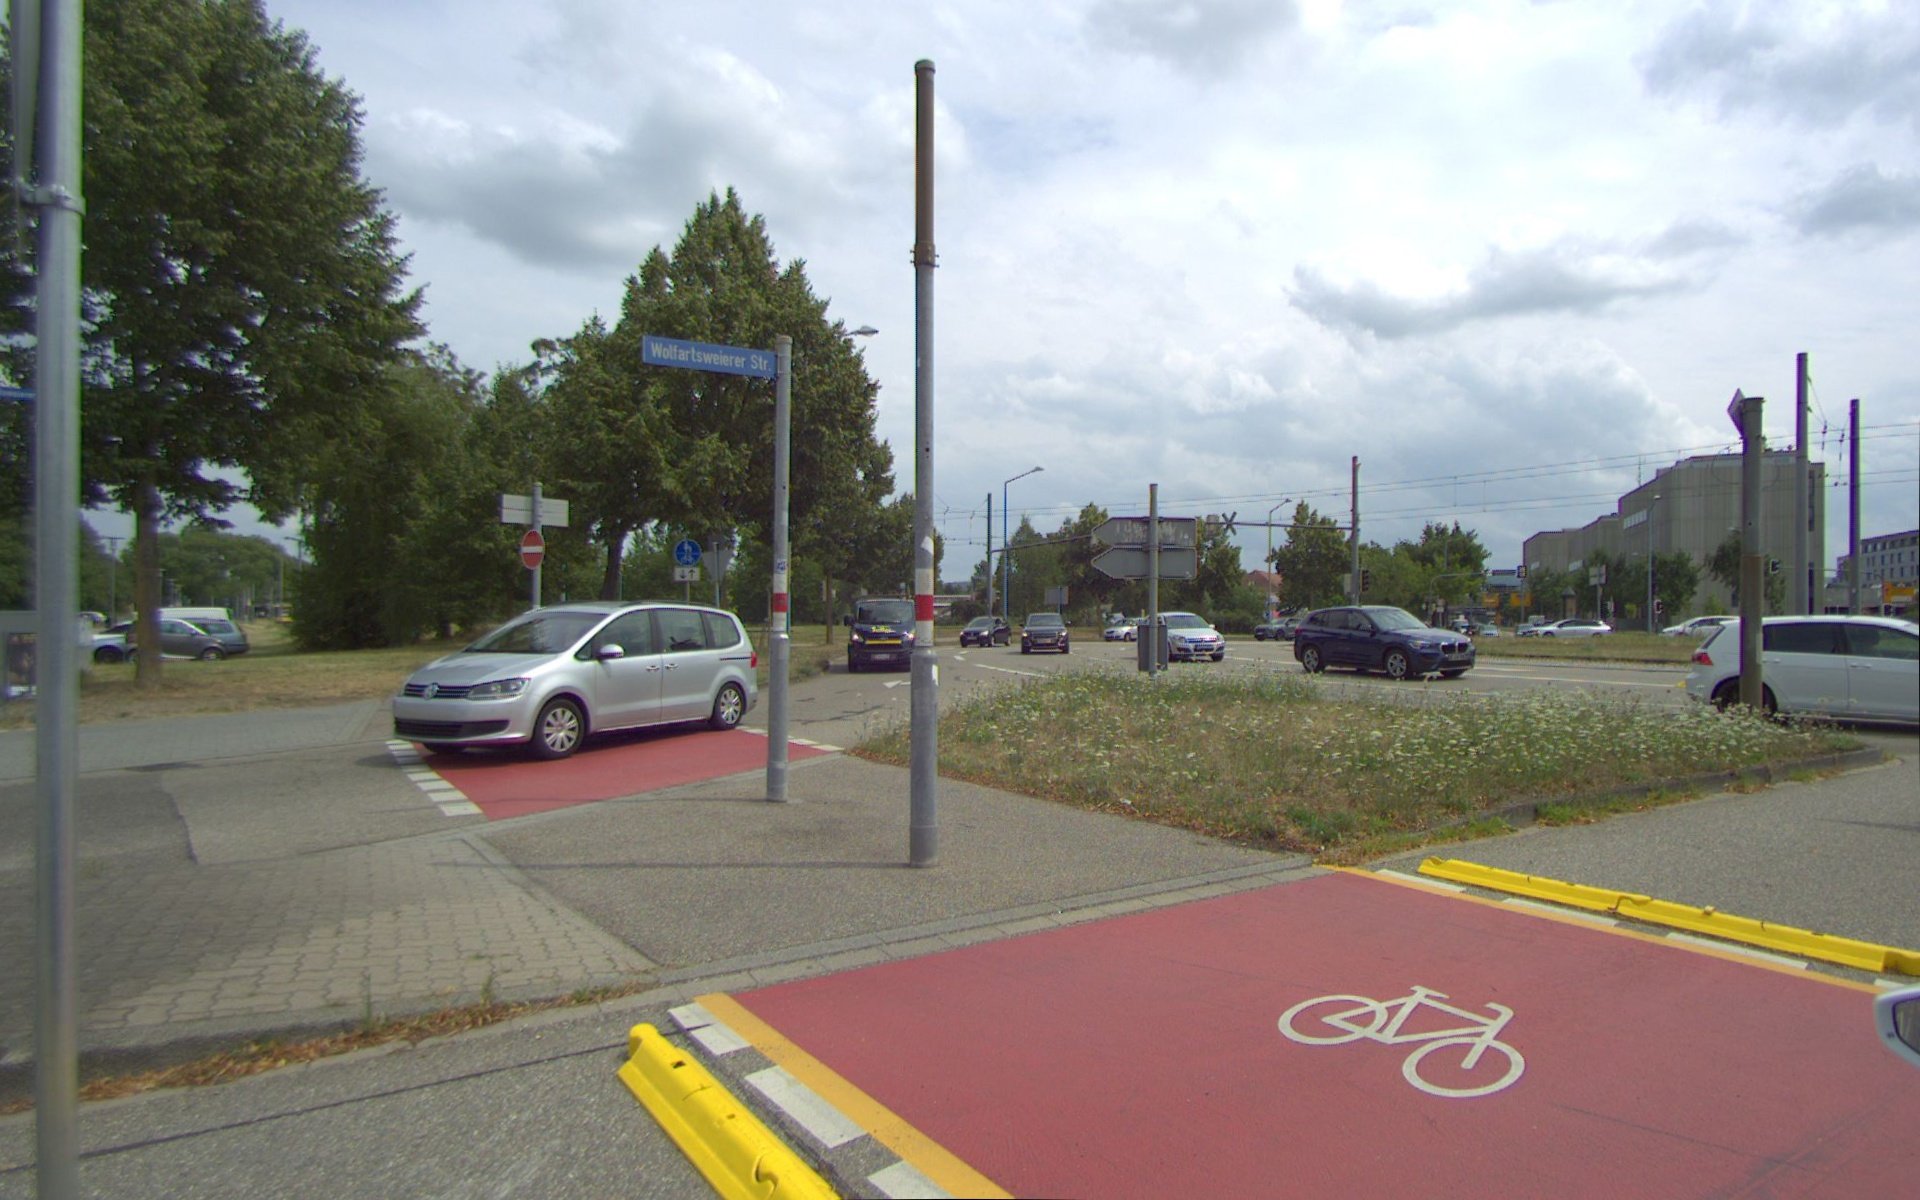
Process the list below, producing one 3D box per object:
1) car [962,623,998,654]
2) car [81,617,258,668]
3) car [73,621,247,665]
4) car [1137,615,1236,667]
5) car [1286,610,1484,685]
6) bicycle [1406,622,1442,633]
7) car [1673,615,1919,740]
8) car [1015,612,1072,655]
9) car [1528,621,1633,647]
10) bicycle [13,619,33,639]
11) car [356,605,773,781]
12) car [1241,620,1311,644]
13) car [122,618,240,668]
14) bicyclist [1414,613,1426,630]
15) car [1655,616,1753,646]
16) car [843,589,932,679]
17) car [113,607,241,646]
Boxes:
[{"bbox_3d":[0.937,1.855,49.144,1.600,1.433,3.722,-1,-2,-1],"label":"car"},{"bbox_3d":[-27.172,1.423,34.679,4.667,1.491,1.812,-1,1,-40],"label":"car"},{"bbox_3d":[-29.047,1.525,36.687,4.844,1.491,1.814,1,-1,-37],"label":"car"},{"bbox_3d":[6.905,1.223,31.099,1.796,1.482,4.257,0,-1,-5],"label":"car"},{"bbox_3d":[9.637,1.025,23.179,1.707,1.554,4.351,1,-1,-21],"label":"car"},{"bbox_3d":[38.405,2.255,83.129,2.605,0.866,0.865,0,-1,6],"label":"bicycle"},{"bbox_3d":[12.111,0.968,13.223,1.789,1.517,4.205,1,-1,-44],"label":"car"},{"bbox_3d":[3.123,1.238,38.287,1.707,1.539,4.146,0,-1,-2],"label":"car"},{"bbox_3d":[37.888,2.064,61.471,5.079,1.502,2.001,0,-1,16],"label":"car"},{"bbox_3d":[-57.471,1.754,61.595,0.773,1.191,2.203,1,-1,-40],"label":"bicycle"},{"bbox_3d":[-4.319,0.912,11.926,1.767,1.644,4.745,0,-1,23],"label":"car"},{"bbox_3d":[21.133,2.124,67.197,4.422,1.572,2.048,1,-1,-30],"label":"car"},{"bbox_3d":[-25.447,1.378,32.842,2.896,1.442,1.465,-1,0,-44],"label":"car"},{"bbox_3d":[38.053,1.756,83.178,0.660,1.428,0.865,0,-1,6],"label":"bicyclist"},{"bbox_3d":[44.232,1.816,59.842,4.267,1.688,1.939,0,-1,15],"label":"car"},{"bbox_3d":[-1.944,0.919,28.514,1.960,2.303,5.162,0,-1,2],"label":"car"},{"bbox_3d":[-43.925,1.477,56.478,5.523,2.083,2.176,1,-1,-39],"label":"car"}]
